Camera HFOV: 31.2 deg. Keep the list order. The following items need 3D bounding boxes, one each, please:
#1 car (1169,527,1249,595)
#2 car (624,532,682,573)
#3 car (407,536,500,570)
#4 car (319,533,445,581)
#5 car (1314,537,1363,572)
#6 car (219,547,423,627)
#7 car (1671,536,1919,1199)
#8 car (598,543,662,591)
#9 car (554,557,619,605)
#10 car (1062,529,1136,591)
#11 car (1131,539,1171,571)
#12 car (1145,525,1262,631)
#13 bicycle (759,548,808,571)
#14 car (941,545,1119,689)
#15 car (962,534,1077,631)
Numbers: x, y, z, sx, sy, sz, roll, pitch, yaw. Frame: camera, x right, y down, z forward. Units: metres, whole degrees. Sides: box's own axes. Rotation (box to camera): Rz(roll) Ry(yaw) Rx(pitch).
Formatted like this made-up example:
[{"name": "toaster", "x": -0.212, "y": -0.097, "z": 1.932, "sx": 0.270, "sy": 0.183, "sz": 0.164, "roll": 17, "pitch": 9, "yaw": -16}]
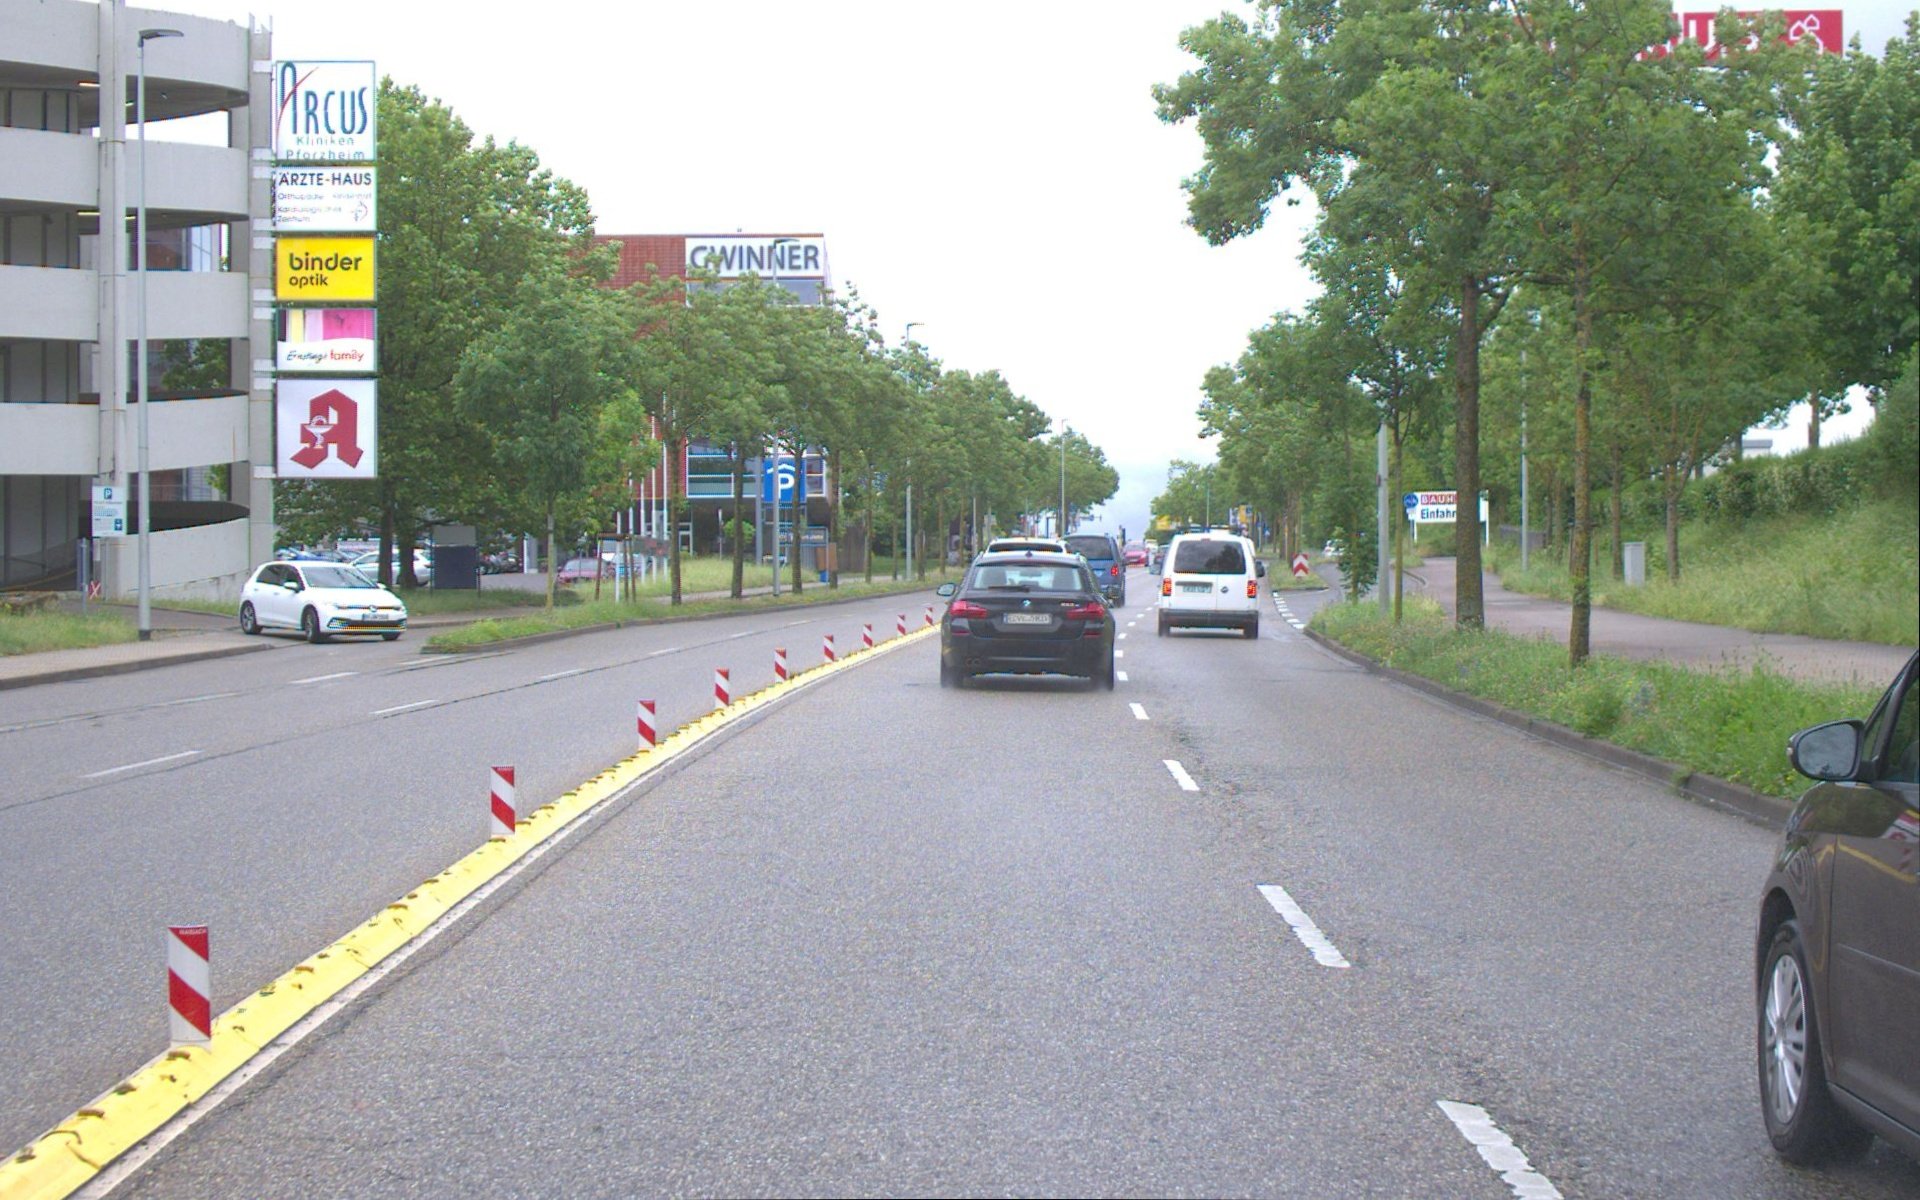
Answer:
[{"name": "car", "x": 5.831, "y": -0.900, "z": 80.829, "sx": 1.794, "sy": 1.505, "sz": 3.999, "roll": 2, "pitch": 0, "yaw": 4}, {"name": "car", "x": -14.542, "y": -2.280, "z": 163.175, "sx": 2.138, "sy": 1.767, "sz": 4.608, "roll": 1, "pitch": 2, "yaw": 2}, {"name": "car", "x": -23.650, "y": -2.196, "z": 160.659, "sx": 4.108, "sy": 1.505, "sz": 1.819, "roll": 1, "pitch": 2, "yaw": -3}, {"name": "car", "x": -22.367, "y": -1.679, "z": 133.082, "sx": 4.598, "sy": 1.740, "sz": 1.967, "roll": 1, "pitch": 2, "yaw": -3}, {"name": "car", "x": 16.937, "y": -2.021, "z": 153.825, "sx": 1.794, "sy": 1.505, "sz": 4.000, "roll": 2, "pitch": 0, "yaw": 1}, {"name": "car", "x": -12.002, "y": -0.253, "z": 64.389, "sx": 1.900, "sy": 1.403, "sz": 4.423, "roll": -3, "pitch": 2, "yaw": -38}, {"name": "car", "x": 2.799, "y": 0.671, "z": 7.043, "sx": 1.685, "sy": 1.575, "sz": 4.219, "roll": 1, "pitch": 1, "yaw": -1}, {"name": "car", "x": -13.616, "y": -1.380, "z": 142.070, "sx": 2.039, "sy": 1.756, "sz": 4.946, "roll": 1, "pitch": 2, "yaw": 2}, {"name": "car", "x": -13.858, "y": -0.731, "z": 127.684, "sx": 1.933, "sy": 1.603, "sz": 4.712, "roll": 1, "pitch": 2, "yaw": 0}, {"name": "car", "x": 3.543, "y": -1.026, "z": 88.188, "sx": 1.794, "sy": 1.505, "sz": 4.000, "roll": 2, "pitch": 0, "yaw": 2}, {"name": "car", "x": 9.527, "y": -2.234, "z": 171.703, "sx": 1.794, "sy": 1.505, "sz": 4.000, "roll": 2, "pitch": 0, "yaw": 1}, {"name": "car", "x": 4.269, "y": -0.424, "z": 60.740, "sx": 1.827, "sy": 1.753, "sz": 4.000, "roll": 2, "pitch": 1, "yaw": 1}, {"name": "bicycle", "x": -8.250, "y": -1.890, "z": 160.766, "sx": 2.077, "sy": 0.932, "sz": 1.093, "roll": 4, "pitch": 1, "yaw": 9}, {"name": "car", "x": 0.751, "y": 0.151, "z": 37.469, "sx": 1.827, "sy": 1.463, "sz": 4.000, "roll": 1, "pitch": 1, "yaw": 1}, {"name": "car", "x": 1.004, "y": -0.292, "z": 56.803, "sx": 1.794, "sy": 1.505, "sz": 4.000, "roll": 2, "pitch": 0, "yaw": 2}]
